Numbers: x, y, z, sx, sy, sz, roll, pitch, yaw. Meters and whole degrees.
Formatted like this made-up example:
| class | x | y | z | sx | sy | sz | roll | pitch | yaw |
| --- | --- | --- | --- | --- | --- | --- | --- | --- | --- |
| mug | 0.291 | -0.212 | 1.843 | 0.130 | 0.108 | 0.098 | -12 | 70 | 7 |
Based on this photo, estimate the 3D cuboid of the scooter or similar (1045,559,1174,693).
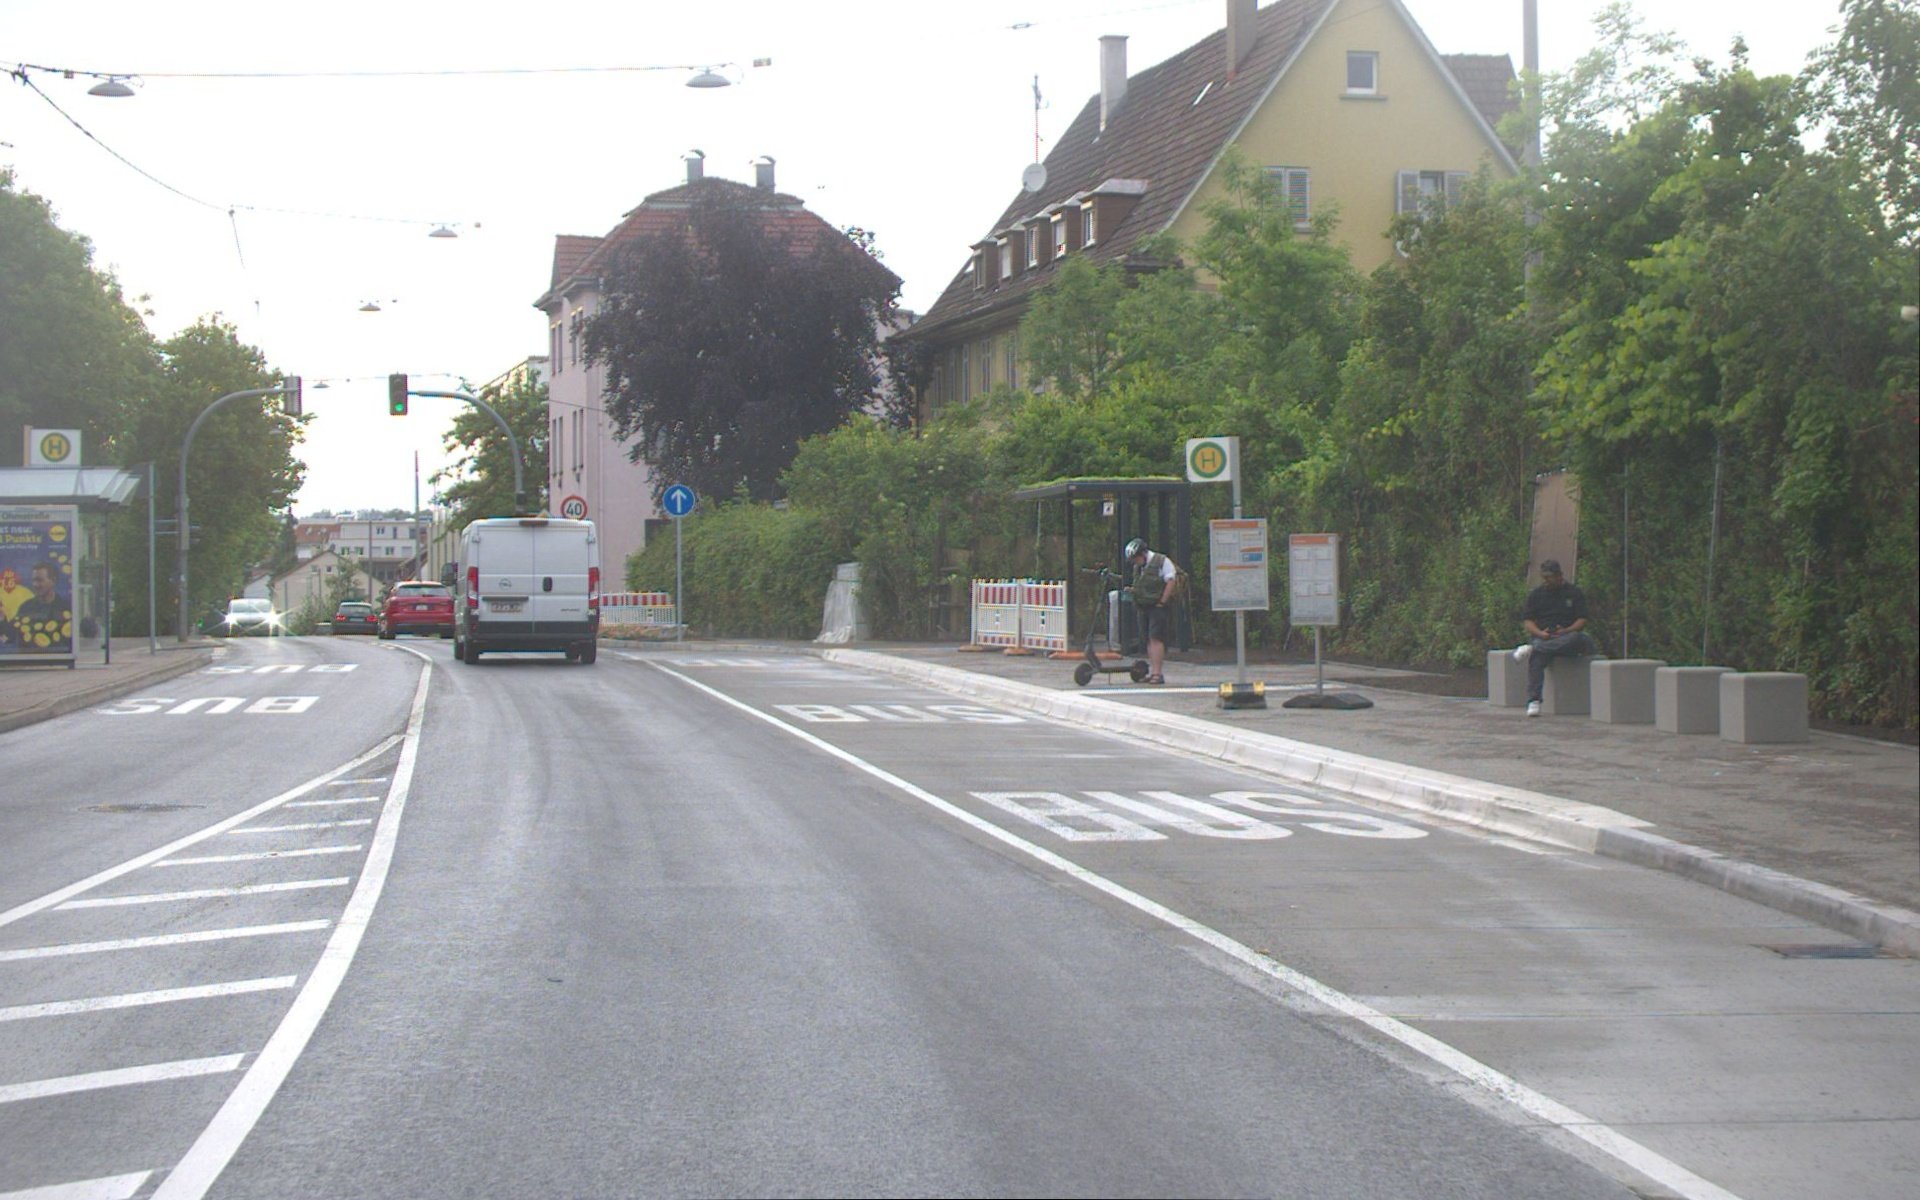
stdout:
| class | x | y | z | sx | sy | sz | roll | pitch | yaw |
| --- | --- | --- | --- | --- | --- | --- | --- | --- | --- |
| scooter or similar | 1.681 | 0.278 | 38.393 | 1.552 | 1.401 | 0.497 | -3 | 5 | -43 |

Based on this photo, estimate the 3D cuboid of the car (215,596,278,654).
| class | x | y | z | sx | sy | sz | roll | pitch | yaw |
| --- | --- | --- | --- | --- | --- | --- | --- | --- | --- |
| car | -24.494 | 0.841 | 118.096 | 1.993 | 1.787 | 4.002 | 1 | 2 | -10 |

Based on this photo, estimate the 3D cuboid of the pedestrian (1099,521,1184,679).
| class | x | y | z | sx | sy | sz | roll | pitch | yaw |
| --- | --- | --- | --- | --- | --- | --- | --- | --- | --- |
| pedestrian | 2.033 | -0.005 | 38.446 | 0.906 | 1.725 | 0.653 | 1 | 2 | 3 |

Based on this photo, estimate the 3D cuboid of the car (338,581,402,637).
| class | x | y | z | sx | sy | sz | roll | pitch | yaw |
| --- | --- | --- | --- | --- | --- | --- | --- | --- | --- |
| car | -21.890 | 0.310 | 127.455 | 2.237 | 1.798 | 4.715 | 1 | 2 | -11 |

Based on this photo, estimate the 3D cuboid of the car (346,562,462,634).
| class | x | y | z | sx | sy | sz | roll | pitch | yaw |
| --- | --- | --- | --- | --- | --- | --- | --- | --- | --- |
| car | -13.741 | -0.020 | 84.731 | 2.237 | 1.651 | 4.714 | 1 | -2 | -16 |

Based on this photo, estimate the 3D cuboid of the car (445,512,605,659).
| class | x | y | z | sx | sy | sz | roll | pitch | yaw |
| --- | --- | --- | --- | --- | --- | --- | --- | --- | --- |
| car | -6.925 | -0.239 | 54.375 | 2.237 | 2.206 | 4.714 | 0 | 1 | -10 |

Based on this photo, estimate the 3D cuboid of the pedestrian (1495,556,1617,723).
| class | x | y | z | sx | sy | sz | roll | pitch | yaw |
| --- | --- | --- | --- | --- | --- | --- | --- | --- | --- |
| pedestrian | 5.140 | 0.329 | 29.699 | 0.879 | 1.362 | 1.065 | 1 | 2 | 3 |
